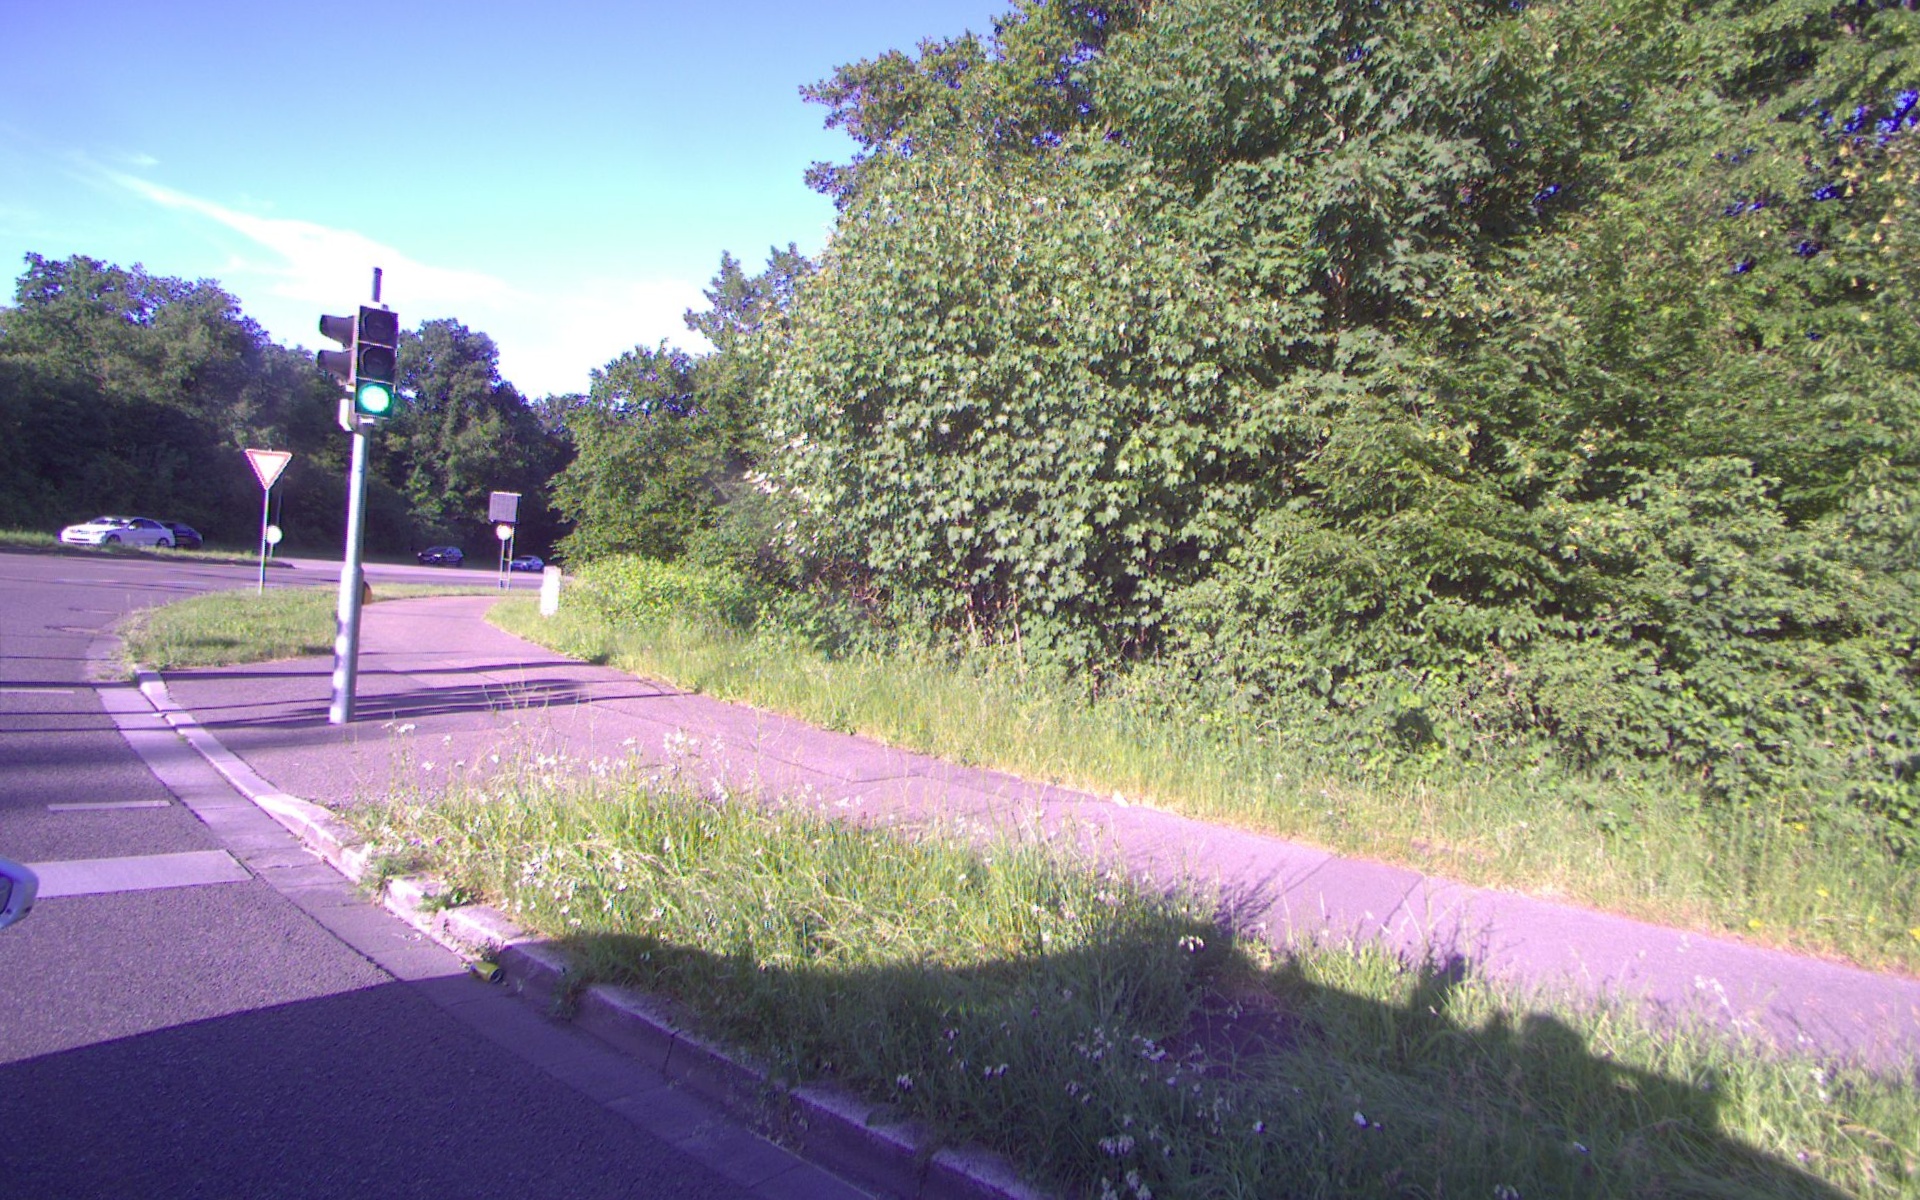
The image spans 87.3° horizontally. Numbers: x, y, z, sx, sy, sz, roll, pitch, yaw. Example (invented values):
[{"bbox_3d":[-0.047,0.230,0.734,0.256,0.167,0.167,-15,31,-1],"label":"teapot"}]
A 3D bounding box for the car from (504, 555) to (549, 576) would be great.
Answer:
[{"bbox_3d":[-39.808,-3.134,92.523,1.963,1.548,4.650,6,0,0],"label":"car"}]

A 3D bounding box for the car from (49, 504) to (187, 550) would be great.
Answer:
[{"bbox_3d":[-35.809,-3.065,42.988,1.964,1.454,4.804,6,0,-3],"label":"car"}]

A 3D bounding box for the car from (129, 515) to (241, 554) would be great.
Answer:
[{"bbox_3d":[-38.482,-3.208,50.110,1.964,1.454,4.804,6,0,-3],"label":"car"}]

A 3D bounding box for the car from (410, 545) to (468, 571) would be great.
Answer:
[{"bbox_3d":[-39.996,-3.194,77.352,1.963,1.548,4.649,6,0,-2],"label":"car"}]
